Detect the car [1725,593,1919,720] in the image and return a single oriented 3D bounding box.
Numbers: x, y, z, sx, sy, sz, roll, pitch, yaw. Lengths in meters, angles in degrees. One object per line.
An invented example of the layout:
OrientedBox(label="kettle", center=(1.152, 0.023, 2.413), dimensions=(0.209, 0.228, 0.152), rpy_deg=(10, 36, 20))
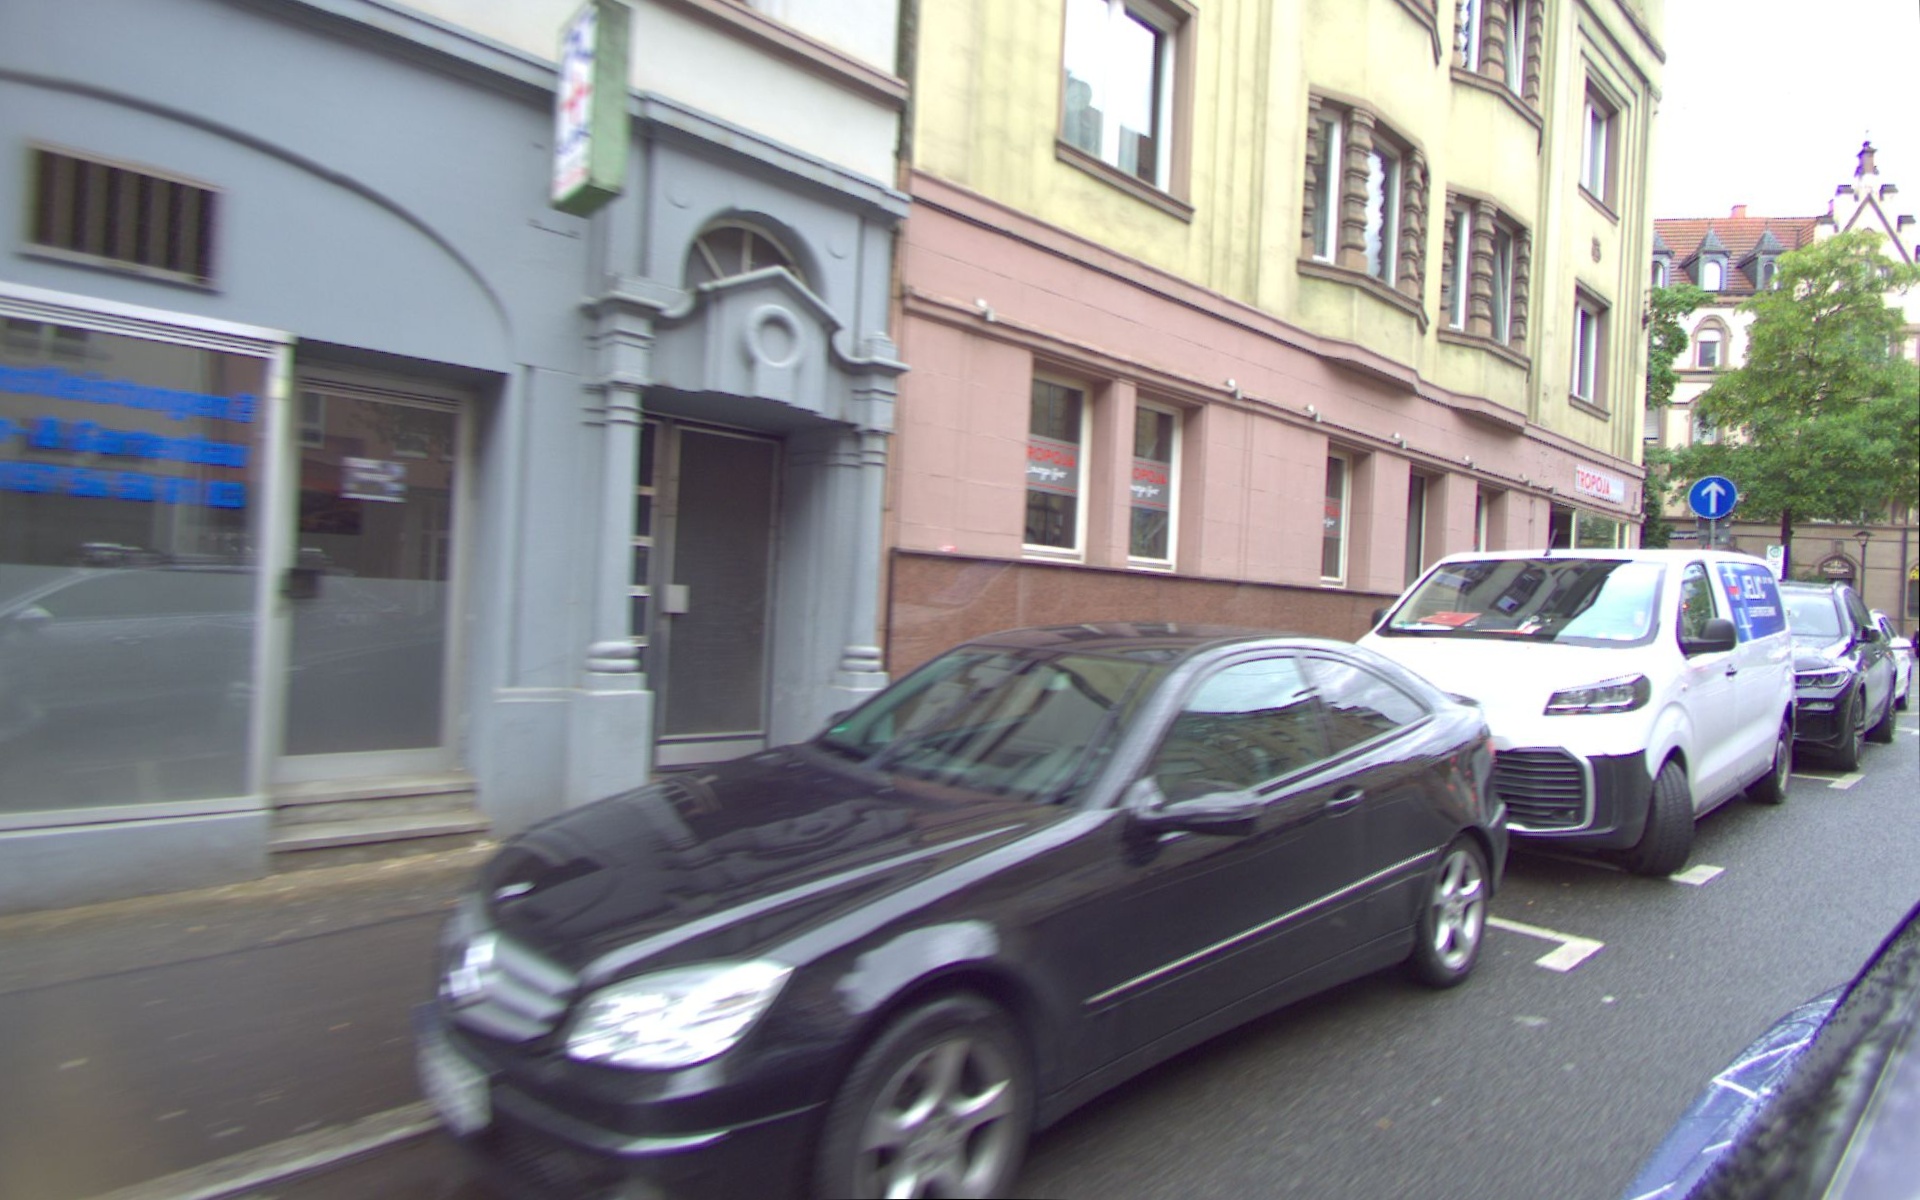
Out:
OrientedBox(label="car", center=(12.827, 0.699, 14.803), dimensions=(4.415, 1.584, 1.801), rpy_deg=(0, 0, -42))

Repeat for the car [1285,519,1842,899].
OrientedBox(label="car", center=(4.560, 0.482, 7.253), dimensions=(4.921, 1.849, 1.923), rpy_deg=(0, 3, -41))

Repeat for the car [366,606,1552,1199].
OrientedBox(label="car", center=(0.425, 0.741, 3.638), dimensions=(4.201, 1.392, 1.680), rpy_deg=(0, 1, -41))

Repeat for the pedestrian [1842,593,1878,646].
OrientedBox(label="pedestrian", center=(29.761, 0.646, 33.467), dimensions=(0.716, 1.756, 0.574), rpy_deg=(0, -1, -13))

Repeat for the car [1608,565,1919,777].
OrientedBox(label="car", center=(8.773, 0.575, 10.761), dimensions=(4.594, 1.753, 1.883), rpy_deg=(0, 3, -41))
